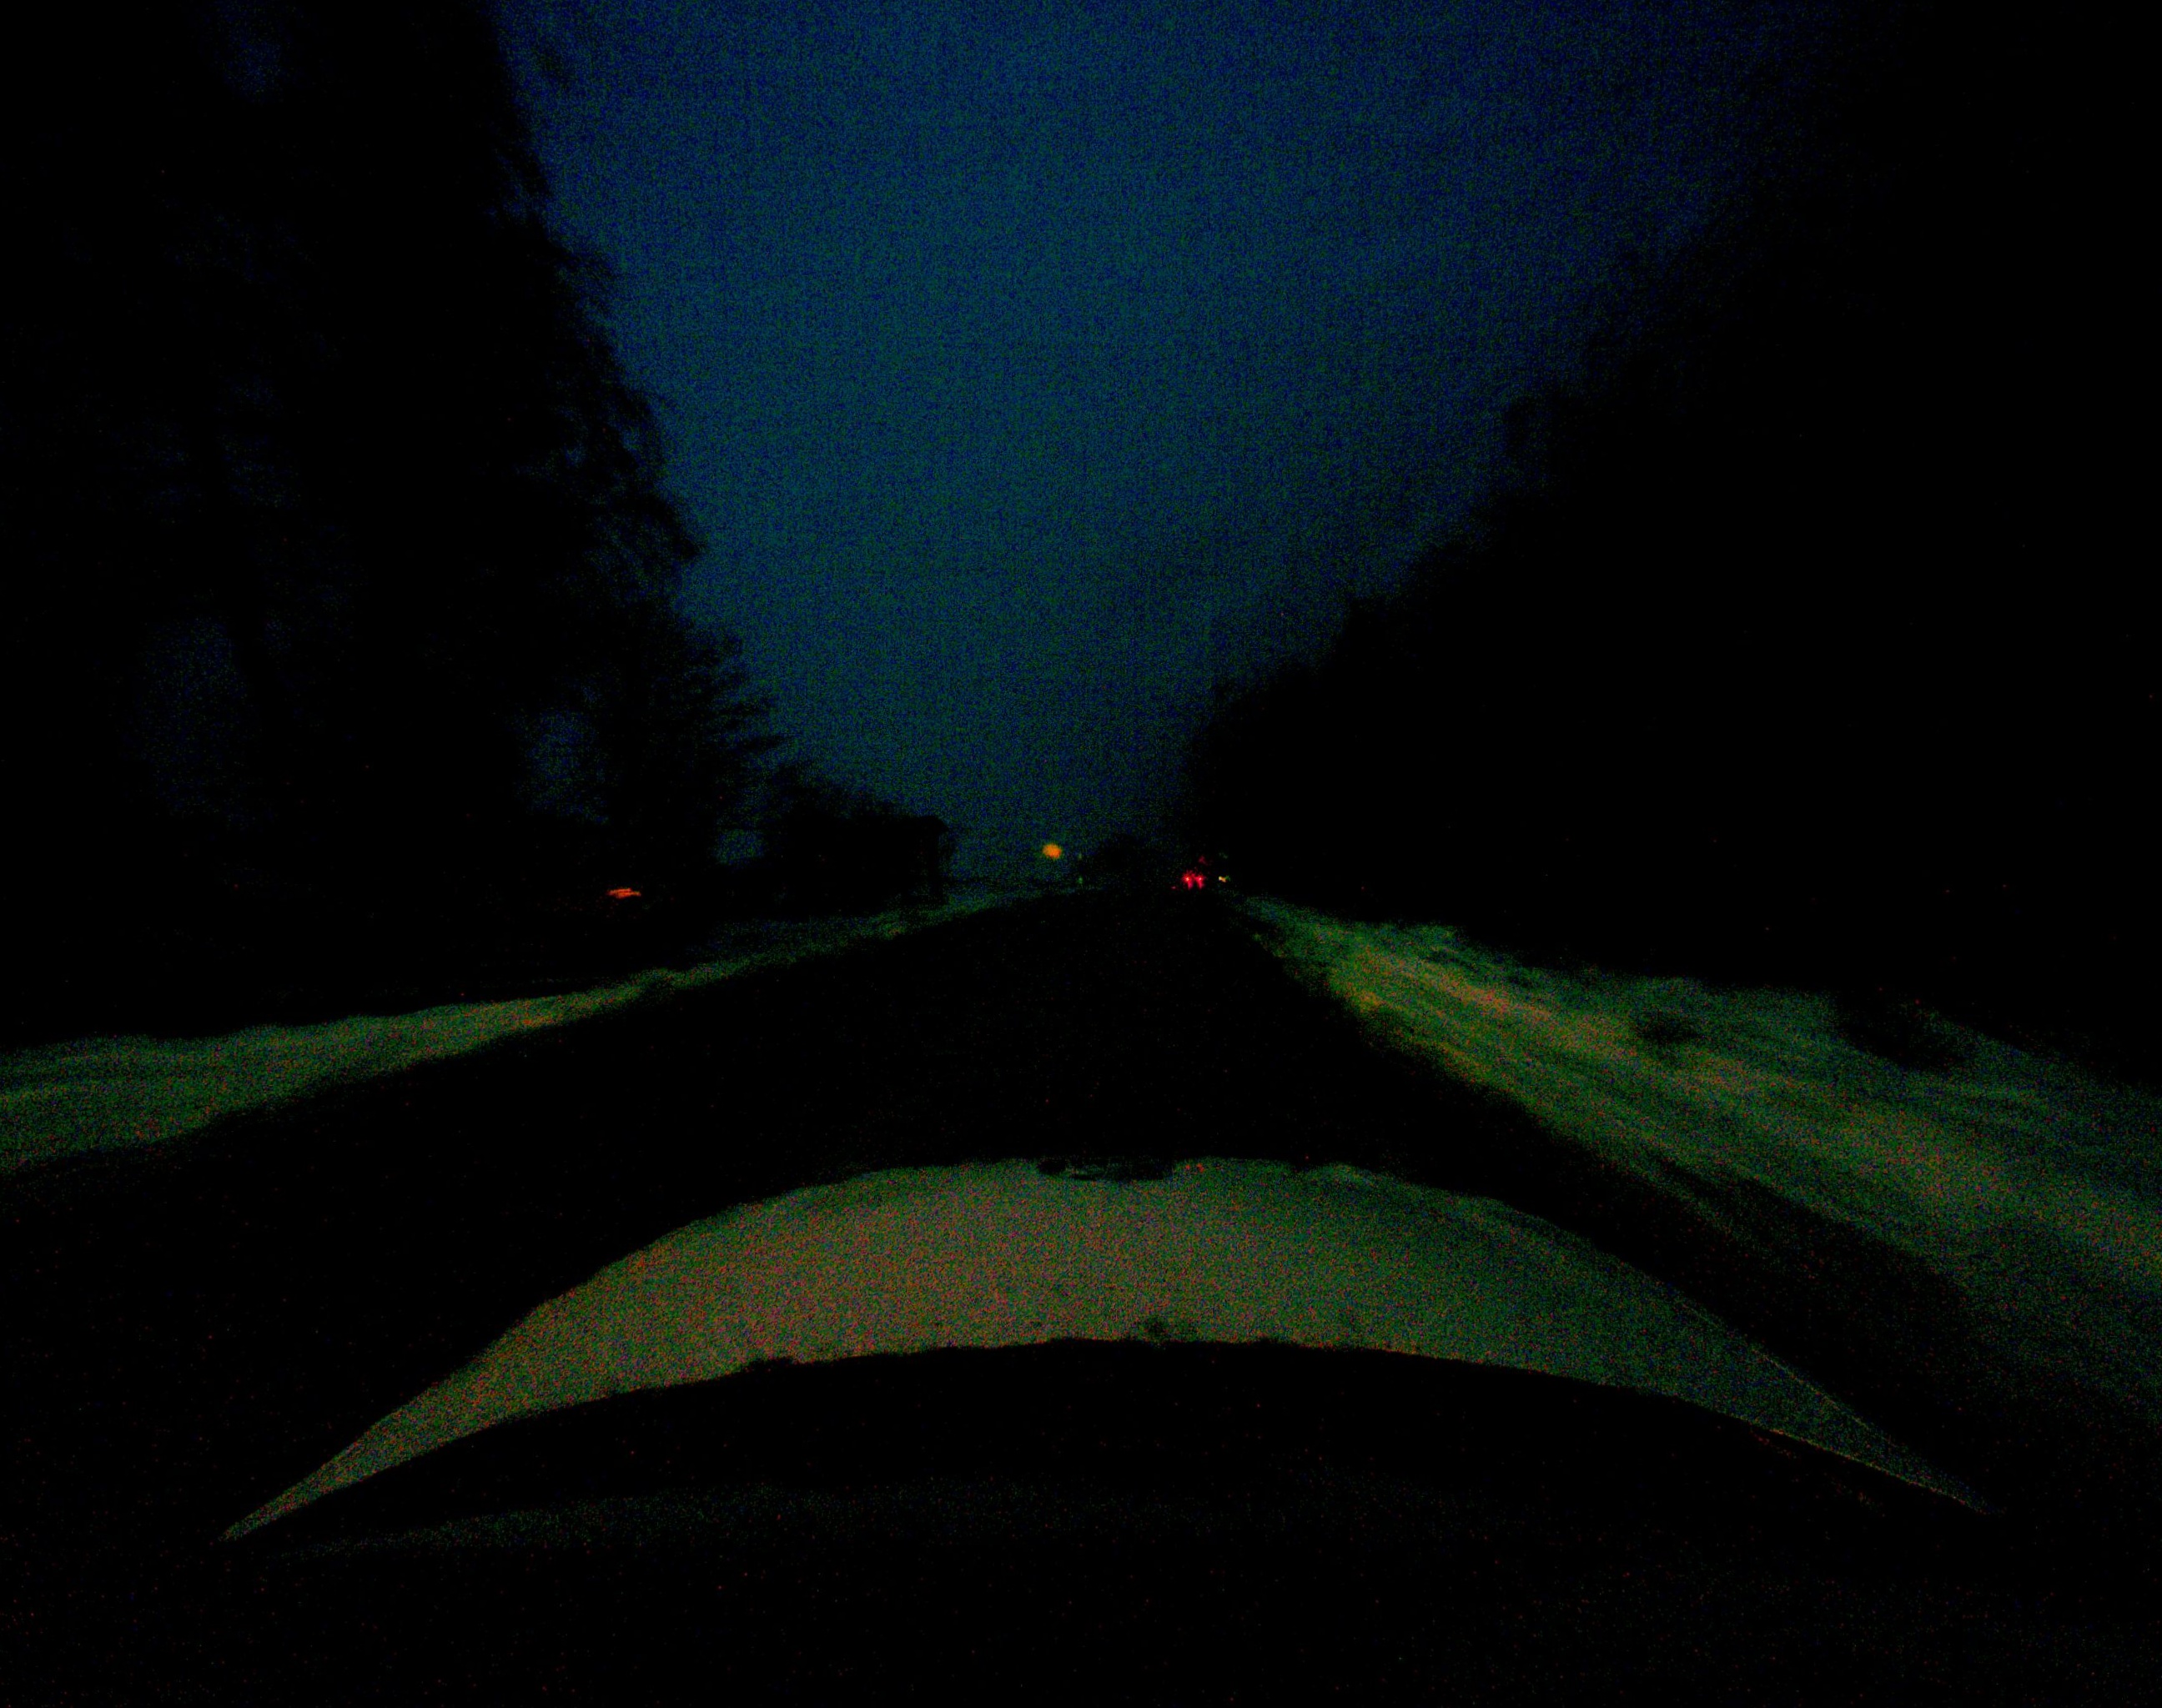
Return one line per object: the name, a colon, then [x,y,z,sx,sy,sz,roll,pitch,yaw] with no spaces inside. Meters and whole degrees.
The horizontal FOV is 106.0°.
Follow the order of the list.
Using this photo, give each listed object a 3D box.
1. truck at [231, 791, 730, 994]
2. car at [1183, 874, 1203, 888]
truck: [-8.084,0.460,11.472,5.252,2.302,1.997,-3,0,-5]
car: [11.910,2.882,86.427,1.983,1.420,4.007,-1,-1,6]
